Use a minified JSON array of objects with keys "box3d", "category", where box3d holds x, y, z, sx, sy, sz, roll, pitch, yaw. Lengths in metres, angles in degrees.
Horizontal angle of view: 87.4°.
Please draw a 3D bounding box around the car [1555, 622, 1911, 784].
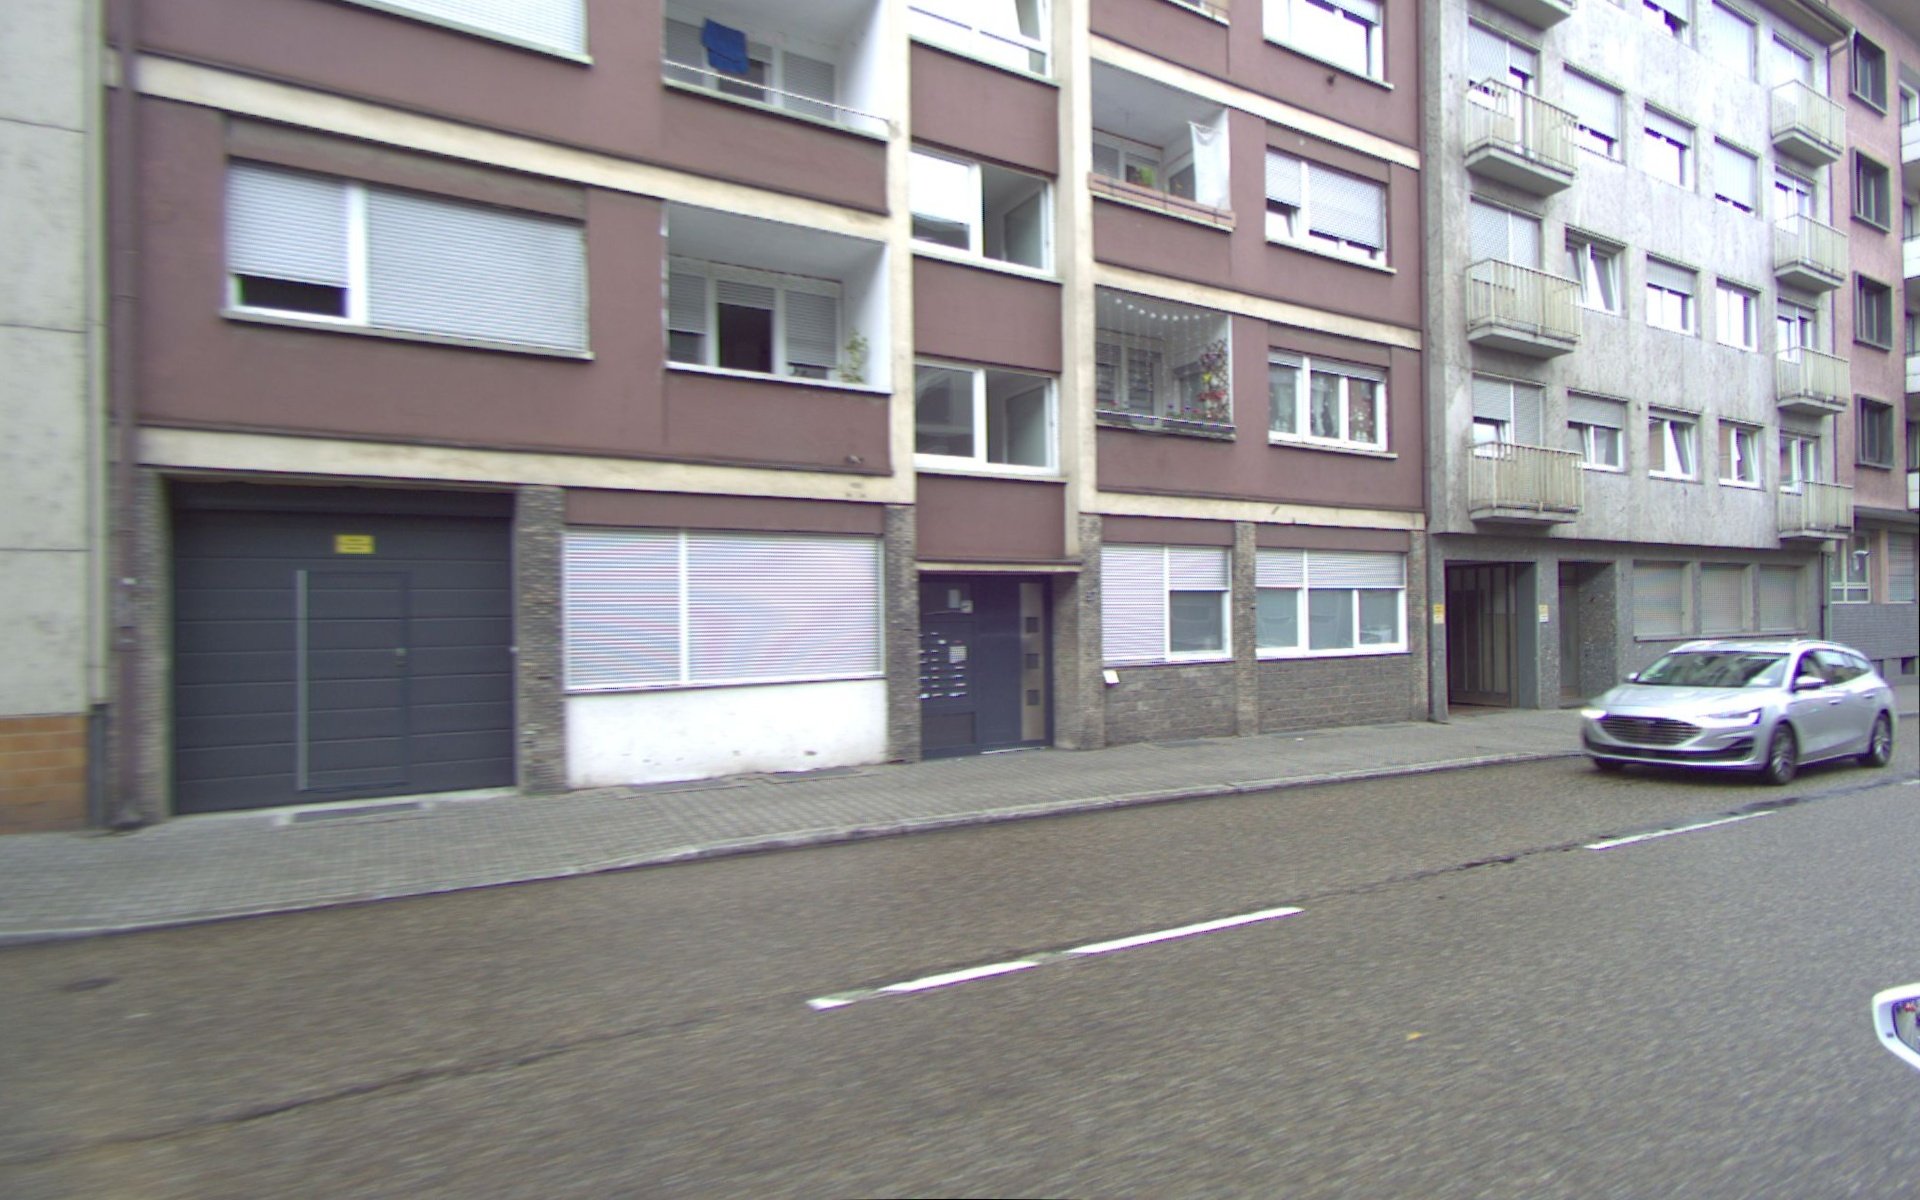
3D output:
[{"box3d":[8.975,1.090,11.592,4.308,1.559,1.764,2,-3,-31],"category":"car"}]
